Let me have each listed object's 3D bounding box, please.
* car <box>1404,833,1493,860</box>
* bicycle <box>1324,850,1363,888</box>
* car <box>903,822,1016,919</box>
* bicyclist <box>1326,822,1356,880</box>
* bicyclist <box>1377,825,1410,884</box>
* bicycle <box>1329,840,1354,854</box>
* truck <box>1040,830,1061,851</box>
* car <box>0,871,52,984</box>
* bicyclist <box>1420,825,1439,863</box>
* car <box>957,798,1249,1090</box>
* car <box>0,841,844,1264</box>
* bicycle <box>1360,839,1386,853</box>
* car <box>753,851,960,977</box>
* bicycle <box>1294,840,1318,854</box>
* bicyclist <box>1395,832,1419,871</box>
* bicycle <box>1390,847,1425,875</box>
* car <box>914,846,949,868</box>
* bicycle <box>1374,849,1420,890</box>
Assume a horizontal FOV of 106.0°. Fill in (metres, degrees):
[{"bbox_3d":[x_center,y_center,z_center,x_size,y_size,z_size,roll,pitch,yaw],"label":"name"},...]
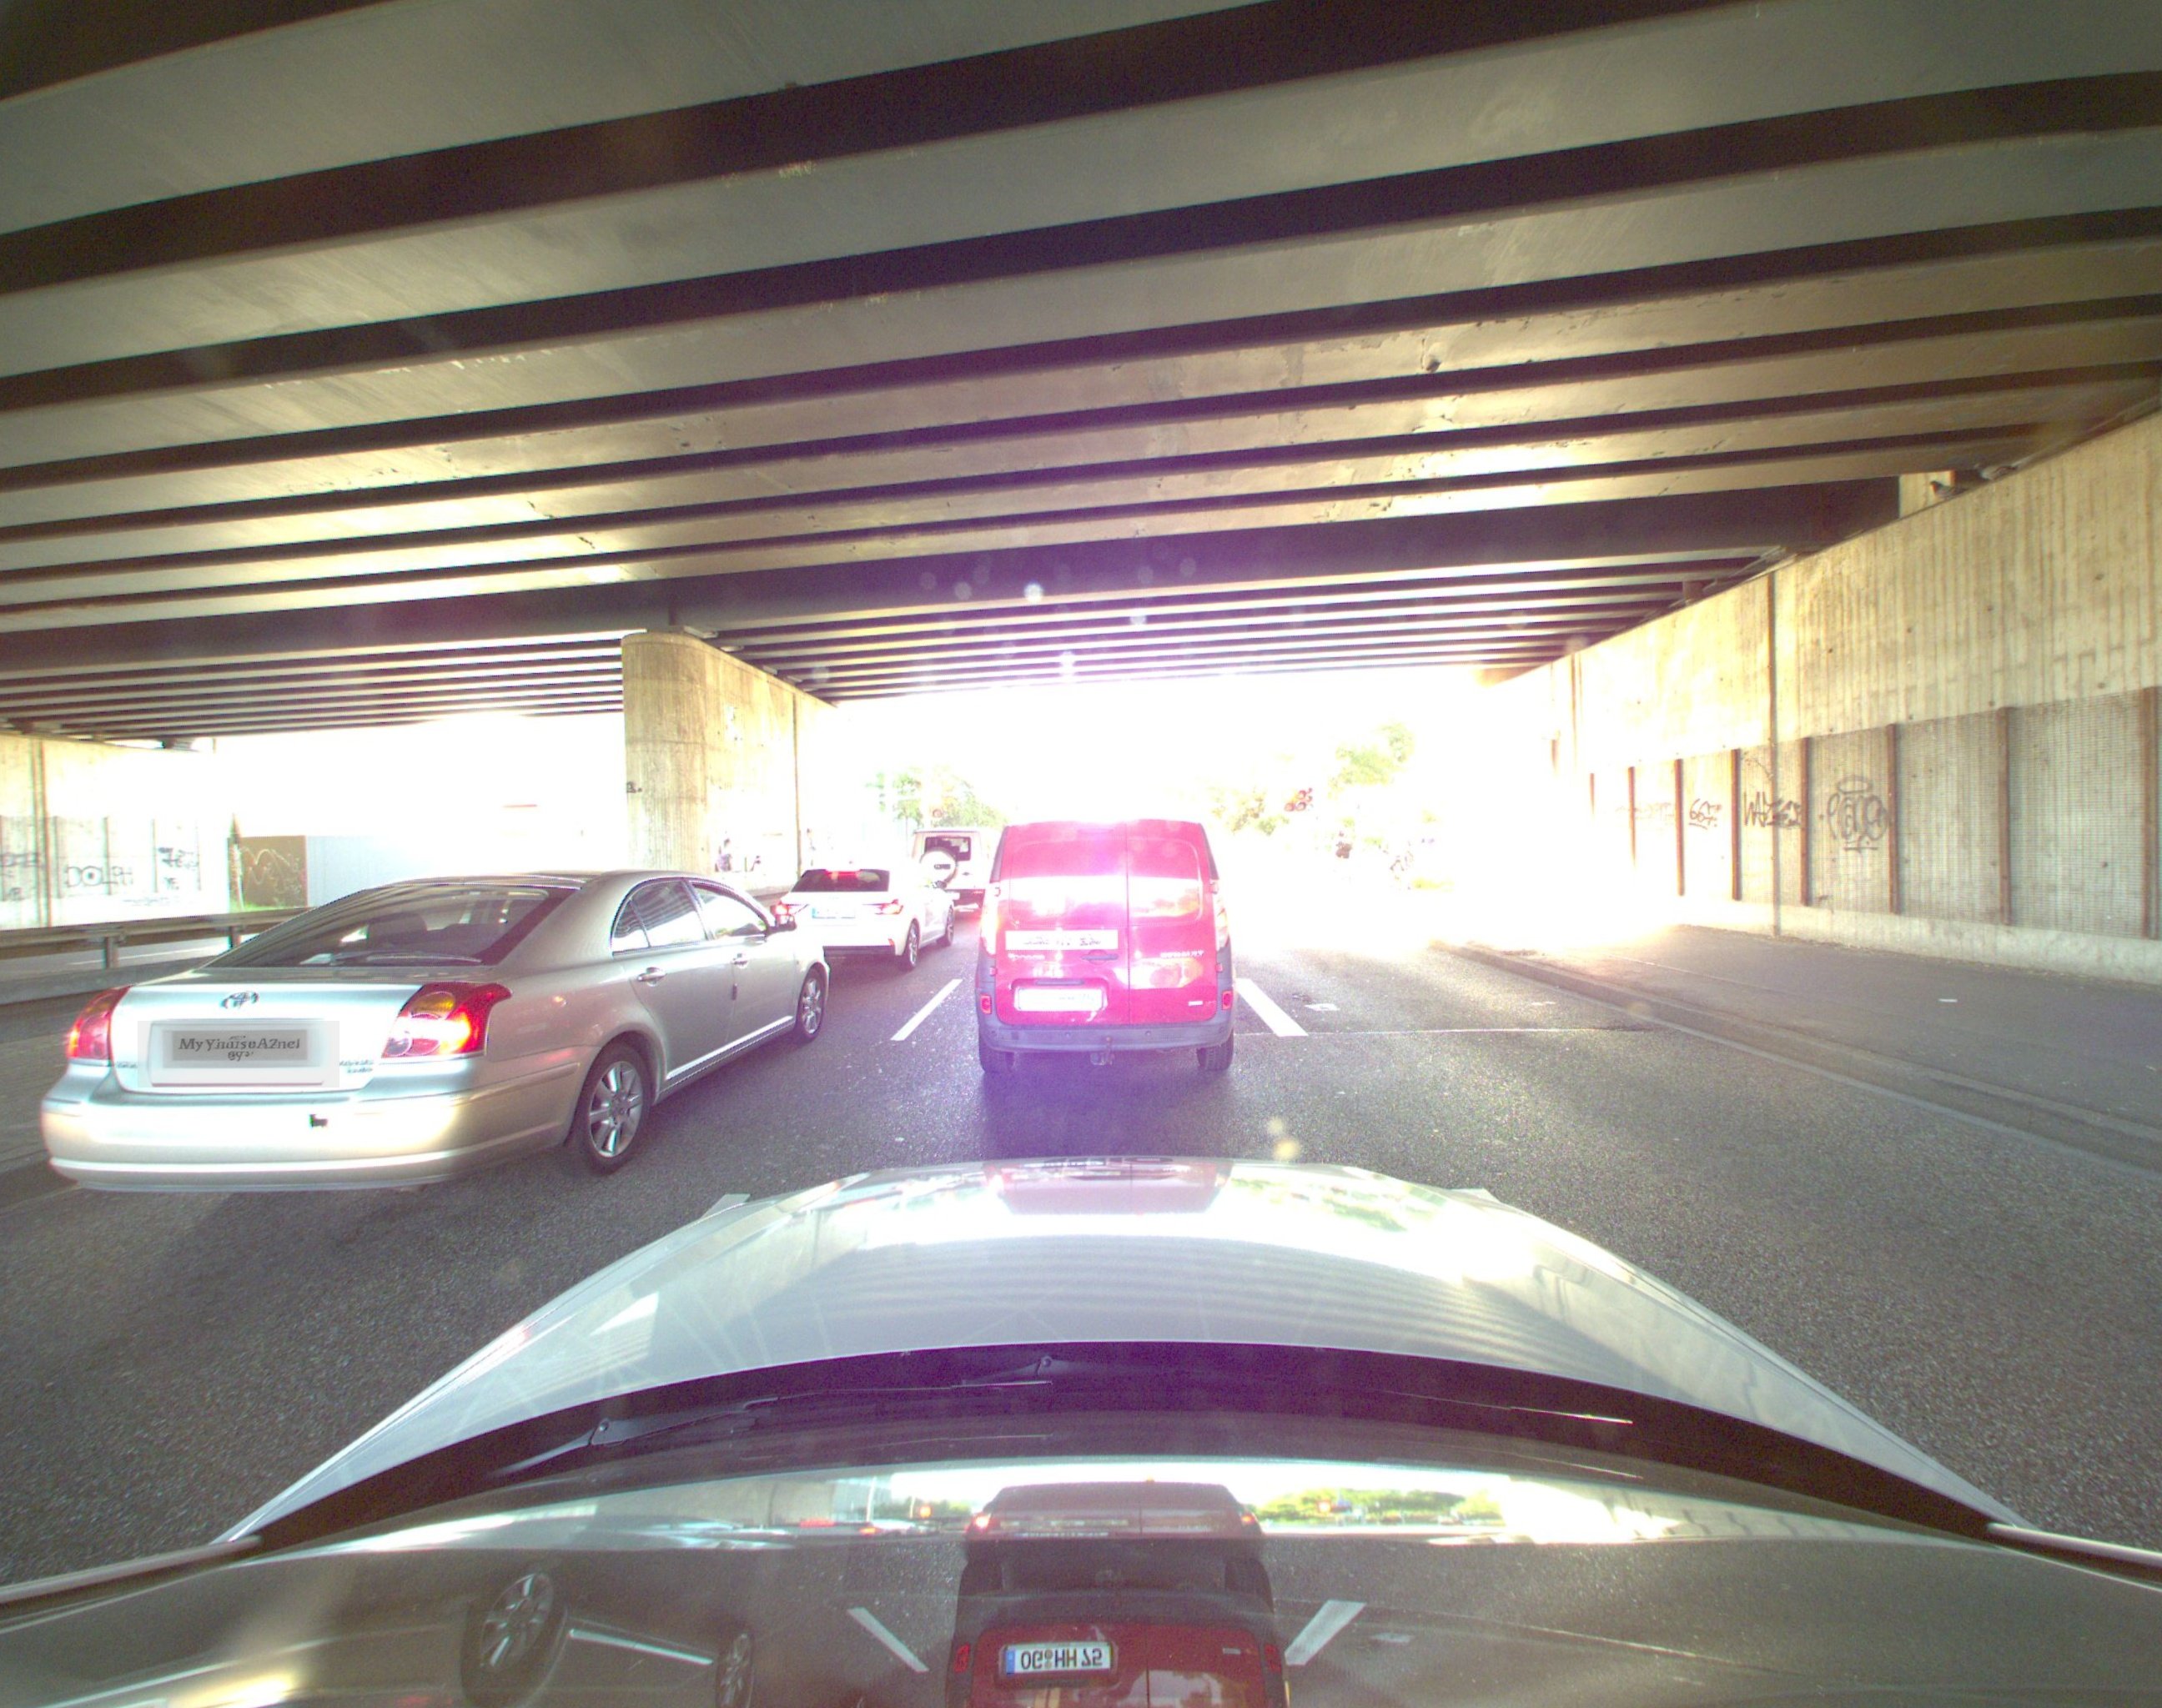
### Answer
[{"bbox_3d":[21.666,-0.418,48.153,4.521,1.514,1.832,0,-1,9],"label":"car"},{"bbox_3d":[7.476,0.419,23.263,0.589,1.023,1.751,0,-1,2],"label":"bicycle"},{"bbox_3d":[-2.685,0.356,19.073,1.794,1.989,4.591,0,-1,2],"label":"car"},{"bbox_3d":[7.461,-0.081,23.412,0.589,1.613,0.943,0,-1,2],"label":"bicyclist"},{"bbox_3d":[8.335,0.017,21.719,0.589,1.548,0.769,0,-1,1],"label":"bicyclist"},{"bbox_3d":[19.414,-0.537,60.701,1.734,1.023,0.595,-1,-1,10],"label":"bicycle"},{"bbox_3d":[-4.575,-2.002,122.554,2.399,3.026,6.661,-4,0,3],"label":"truck"},{"bbox_3d":[-16.419,1.109,10.097,1.817,1.587,4.187,-2,1,4],"label":"car"},{"bbox_3d":[13.906,-0.388,32.471,0.644,1.480,0.621,-1,1,19],"label":"bicyclist"},{"bbox_3d":[0.197,0.571,7.038,1.798,1.794,4.001,0,-1,2],"label":"car"},{"bbox_3d":[-3.015,0.714,5.094,1.727,1.480,4.319,-1,0,0],"label":"car"},{"bbox_3d":[21.301,-0.586,59.505,1.733,1.023,0.596,-1,-1,13],"label":"bicycle"},{"bbox_3d":[-2.957,0.716,11.599,1.807,1.438,3.732,-1,1,1],"label":"car"},{"bbox_3d":[17.182,-0.509,62.143,1.734,1.023,0.595,-1,-1,10],"label":"bicycle"},{"bbox_3d":[12.413,-0.098,31.013,0.662,1.474,0.752,0,-1,4],"label":"bicyclist"},{"bbox_3d":[12.422,0.275,31.026,0.668,1.023,2.058,0,-1,5],"label":"bicycle"},{"bbox_3d":[-13.201,0.244,72.123,1.817,1.737,4.634,-4,0,4],"label":"car"},{"bbox_3d":[8.362,0.399,21.600,0.589,1.023,1.751,0,-1,2],"label":"bicycle"}]
